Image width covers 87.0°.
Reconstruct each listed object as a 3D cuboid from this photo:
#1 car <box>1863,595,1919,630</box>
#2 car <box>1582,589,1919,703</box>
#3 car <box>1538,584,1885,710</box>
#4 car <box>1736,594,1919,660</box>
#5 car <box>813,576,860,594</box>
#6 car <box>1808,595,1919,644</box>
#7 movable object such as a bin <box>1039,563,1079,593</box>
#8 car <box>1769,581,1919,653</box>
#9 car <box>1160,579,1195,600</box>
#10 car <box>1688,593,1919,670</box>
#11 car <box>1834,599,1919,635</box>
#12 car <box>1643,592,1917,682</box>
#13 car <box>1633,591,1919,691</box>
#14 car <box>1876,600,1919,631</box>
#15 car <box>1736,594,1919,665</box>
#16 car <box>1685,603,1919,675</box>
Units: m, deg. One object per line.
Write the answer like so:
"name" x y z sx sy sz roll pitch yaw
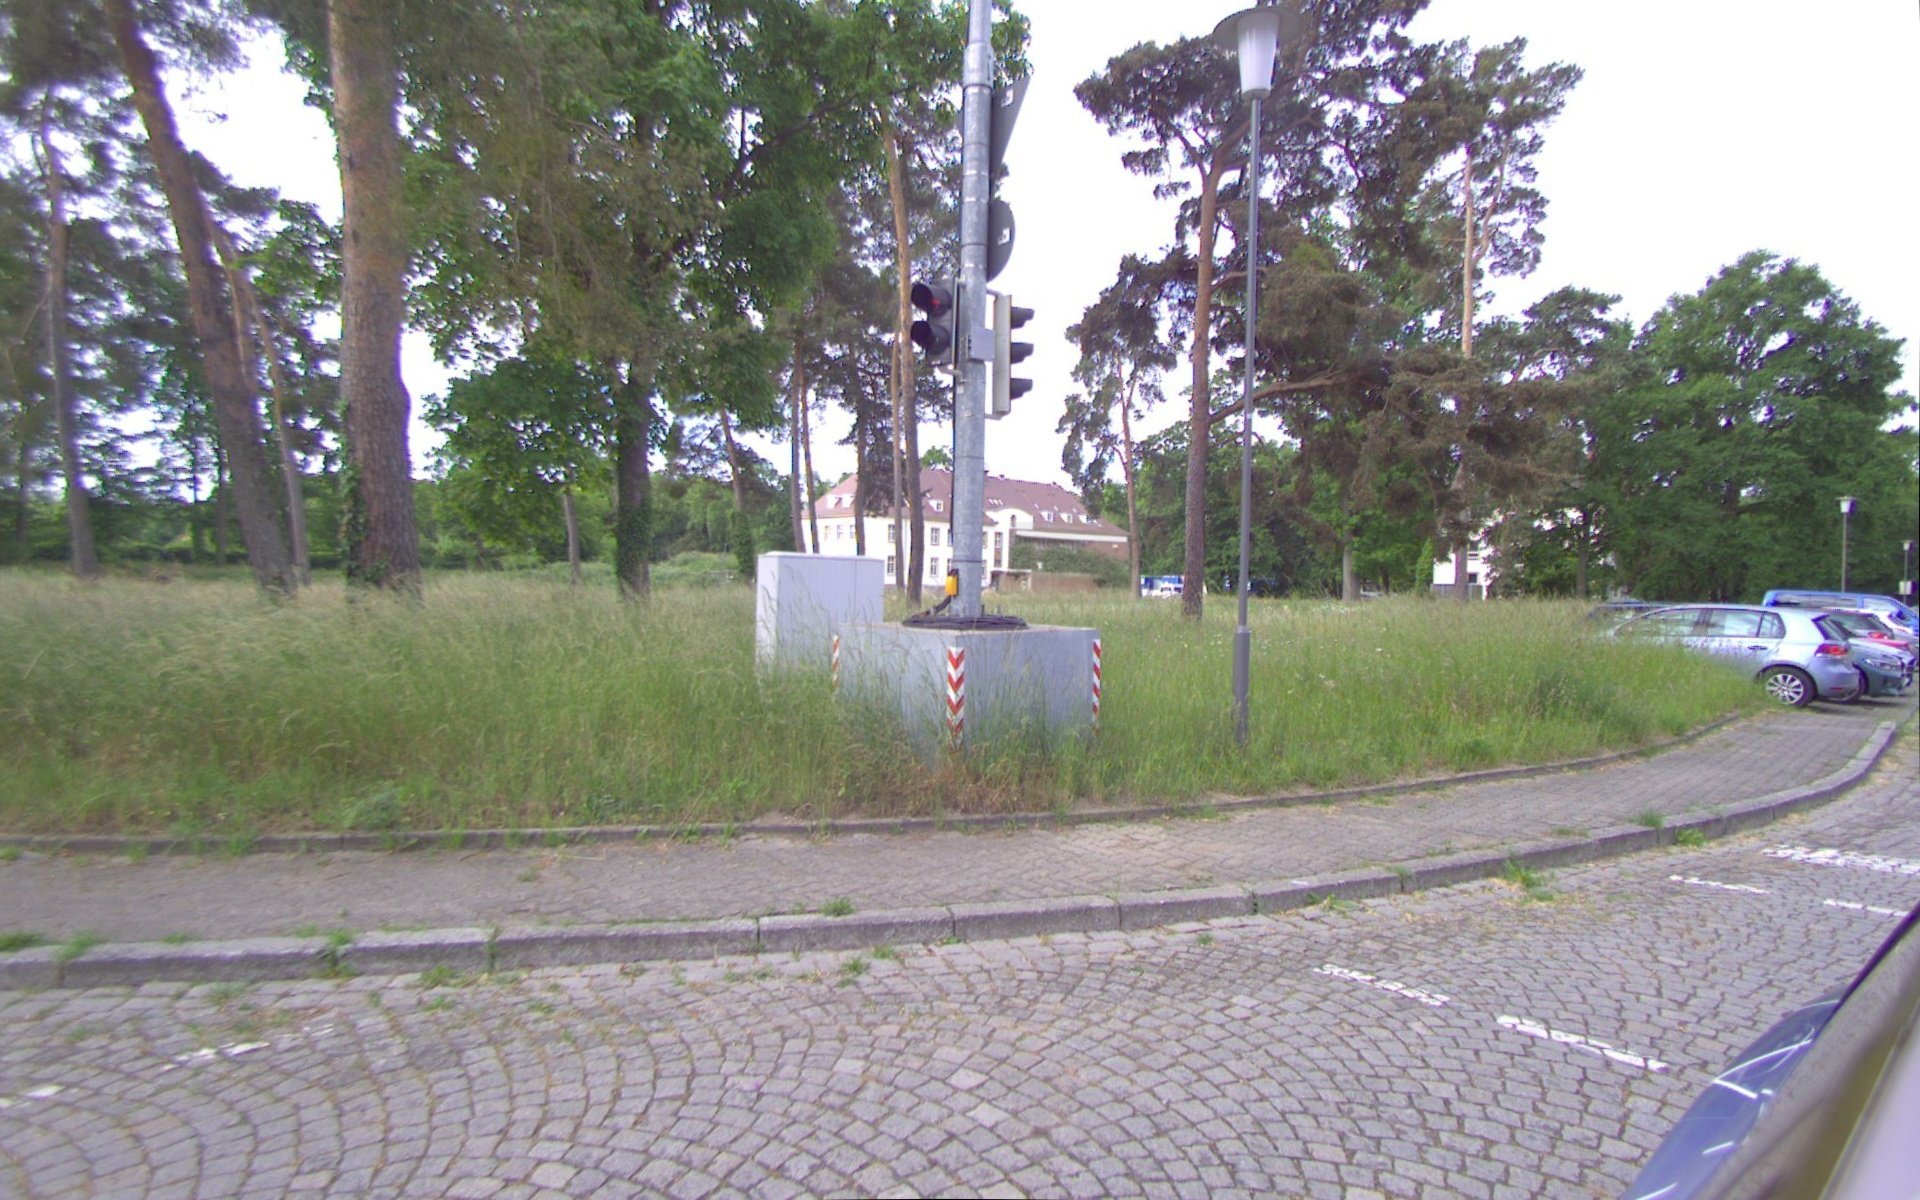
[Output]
"car" 49.287 0.690 51.921 1.694 1.715 4.088 1 2 -36
"car" 13.359 0.665 17.198 1.636 1.400 4.434 0 4 -44
"car" 11.383 0.607 15.532 1.670 1.446 4.006 0 4 -44
"car" 24.356 0.706 28.223 1.572 1.535 4.050 1 2 -40
"car" -14.224 -1.735 116.222 5.775 1.985 2.161 1 1 43
"car" 34.575 0.734 37.904 1.625 1.612 4.083 1 2 -40
"movable object such as a bin" 13.055 -2.889 133.433 2.016 3.817 5.458 0 1 -39
"car" 28.446 0.506 31.645 1.879 2.030 4.600 0 3 -41
"car" 25.188 -1.268 117.034 4.373 2.394 1.859 0 1 -43
"car" 20.217 0.689 24.376 1.572 1.535 4.050 1 2 -40
"car" 41.775 0.768 45.057 1.696 1.462 4.082 1 2 -41
"car" 16.862 0.686 20.974 1.688 1.500 4.180 1 2 -42
"car" 15.378 0.677 18.990 1.687 1.492 4.246 1 2 -40
"car" 52.743 0.901 54.970 1.694 1.552 4.098 1 2 -36
"car" 22.610 0.713 25.878 1.670 1.535 4.097 1 2 -40
"car" 18.588 0.798 22.271 1.523 1.255 4.047 1 2 -42
